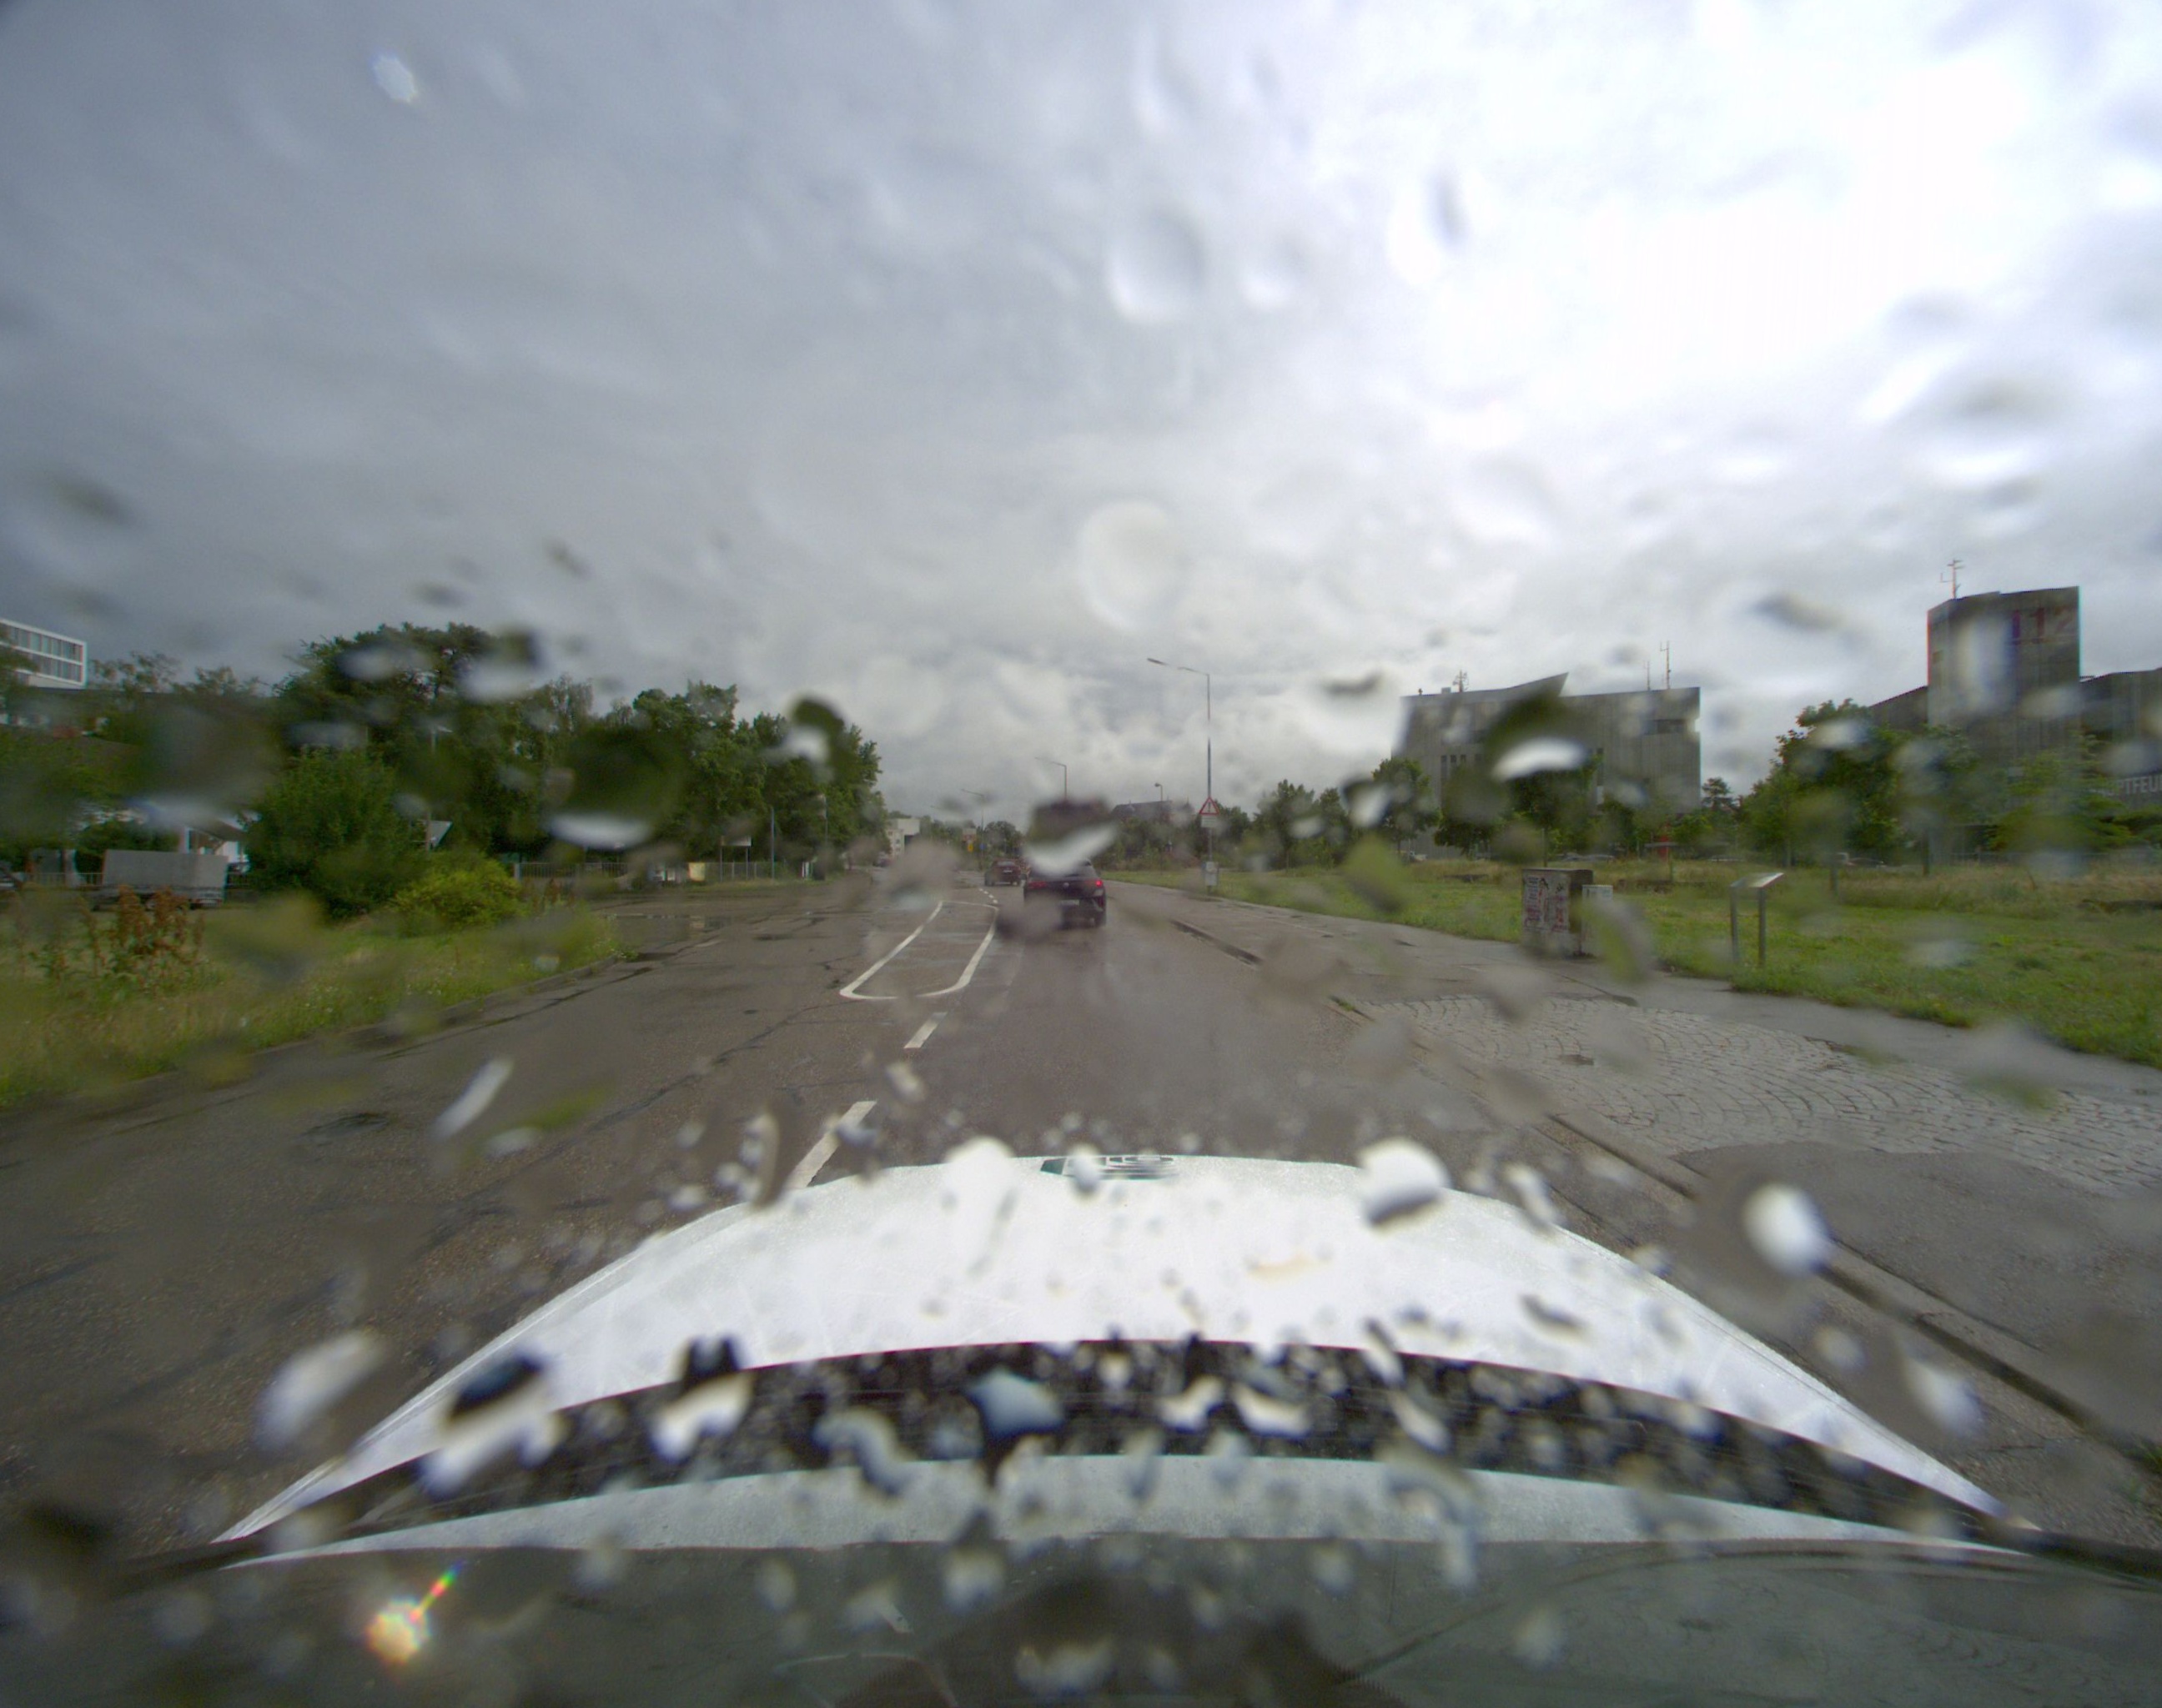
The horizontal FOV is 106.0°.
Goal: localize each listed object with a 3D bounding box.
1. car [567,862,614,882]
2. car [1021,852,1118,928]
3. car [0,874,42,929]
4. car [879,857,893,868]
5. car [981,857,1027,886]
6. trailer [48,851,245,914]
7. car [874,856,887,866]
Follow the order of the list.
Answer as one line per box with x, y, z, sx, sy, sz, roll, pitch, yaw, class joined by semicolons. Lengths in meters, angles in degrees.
-36.683;1.294;61.025;1.999;1.418;4.517;-1;0;-17;car
-0.349;0.752;18.919;1.983;1.520;3.995;-2;0;-4;car
-37.434;1.577;26.275;4.511;1.775;1.990;0;0;-14;car
-31.814;1.357;132.798;1.846;1.641;3.992;0;0;-17;car
-4.272;0.939;44.639;1.845;1.442;3.978;-2;-1;-16;car
-32.592;0.992;28.568;4.109;2.089;1.834;1;-1;-17;trailer
-36.079;1.287;146.508;2.001;1.703;3.992;0;0;-17;car
